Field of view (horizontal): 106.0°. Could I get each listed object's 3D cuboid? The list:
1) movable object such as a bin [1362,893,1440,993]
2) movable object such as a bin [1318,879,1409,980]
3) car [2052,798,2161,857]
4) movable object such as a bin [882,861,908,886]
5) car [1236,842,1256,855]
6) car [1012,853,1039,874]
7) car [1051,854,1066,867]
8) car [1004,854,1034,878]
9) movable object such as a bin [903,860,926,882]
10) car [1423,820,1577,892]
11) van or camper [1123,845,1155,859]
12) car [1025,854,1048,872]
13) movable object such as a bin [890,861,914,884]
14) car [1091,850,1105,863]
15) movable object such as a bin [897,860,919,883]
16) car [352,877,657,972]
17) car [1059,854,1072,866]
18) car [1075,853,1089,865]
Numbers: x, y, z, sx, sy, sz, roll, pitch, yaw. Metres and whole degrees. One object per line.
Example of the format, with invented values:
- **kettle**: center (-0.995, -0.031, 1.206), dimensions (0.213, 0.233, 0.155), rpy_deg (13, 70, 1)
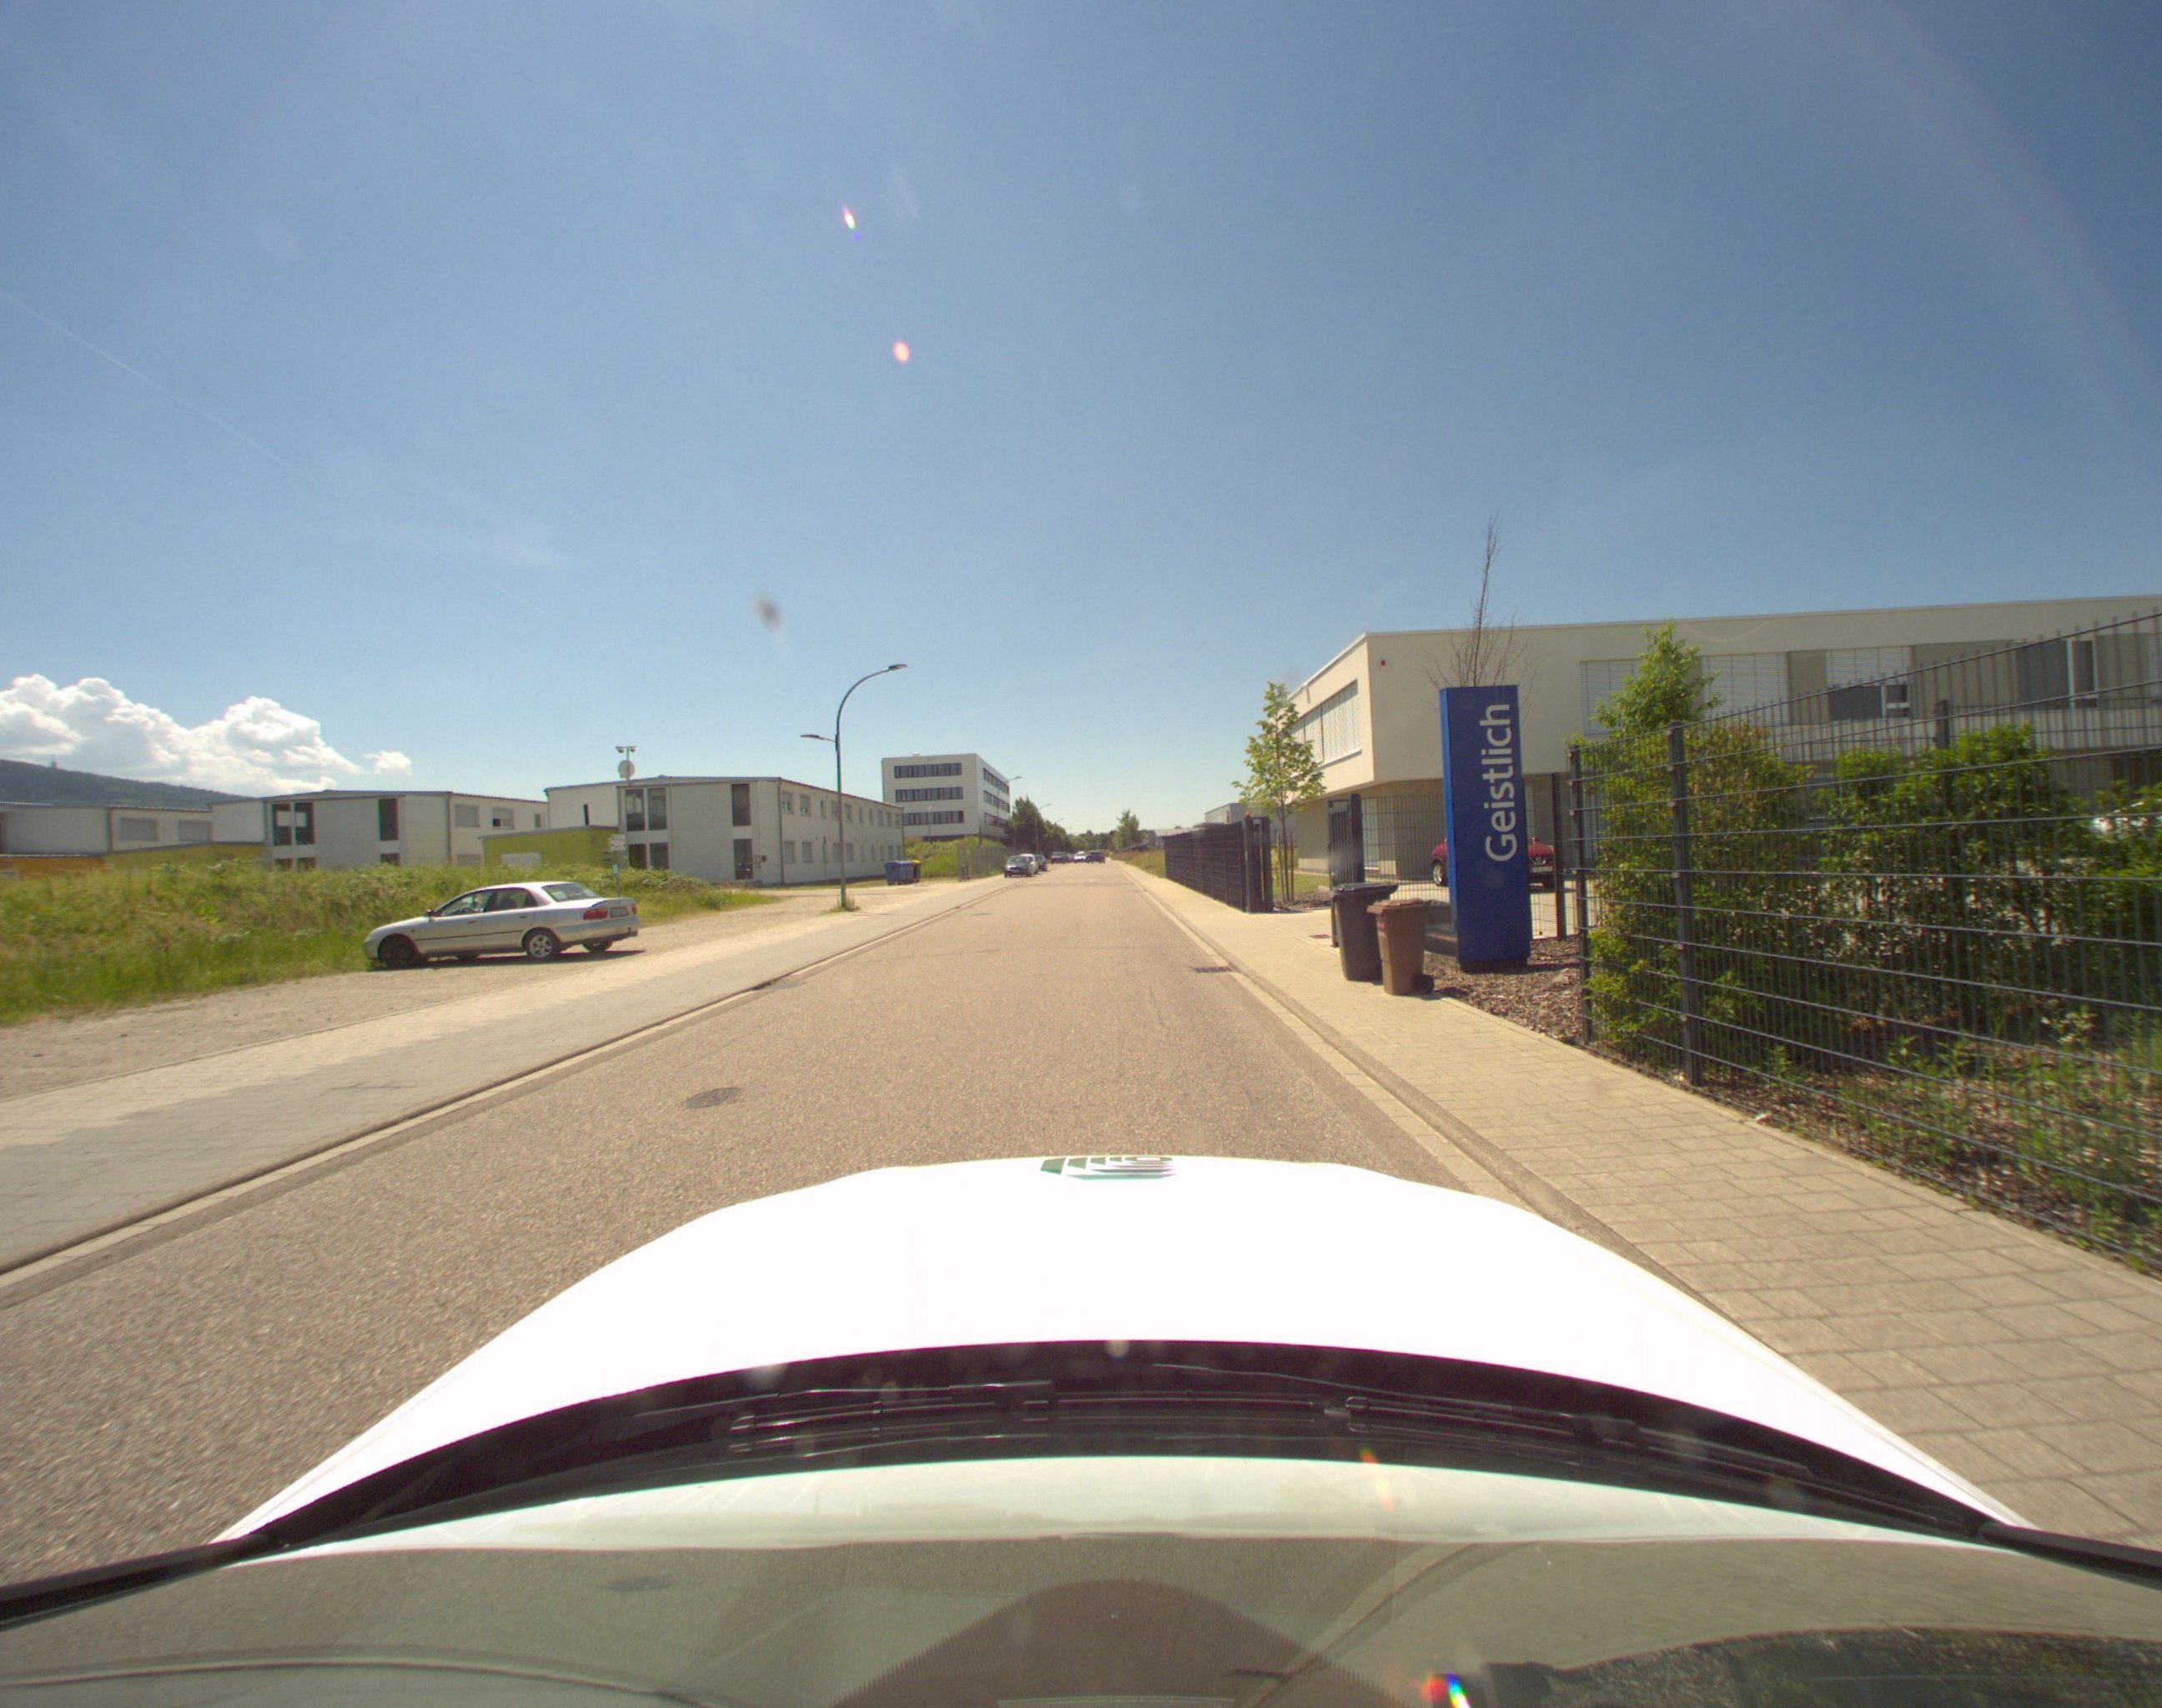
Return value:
- **movable object such as a bin**: center (3.219, 0.879, 8.225), dimensions (0.522, 0.925, 0.555), rpy_deg (-4, -1, 1)
- **movable object such as a bin**: center (3.173, 0.832, 9.207), dimensions (0.745, 1.048, 0.699), rpy_deg (-4, -1, 1)
- **car**: center (27.662, -0.692, 20.534), dimensions (1.664, 1.432, 3.938), rpy_deg (-2, 1, -1)
- **movable object such as a bin**: center (-11.358, 1.172, 49.823), dimensions (1.138, 1.448, 1.435), rpy_deg (-2, -1, 4)
- **car**: center (18.769, -0.593, 92.725), dimensions (1.509, 1.397, 3.540), rpy_deg (-3, -1, 0)
- **car**: center (-4.285, 0.748, 63.514), dimensions (1.668, 1.530, 3.758), rpy_deg (-2, -1, 1)
- **car**: center (-3.077, 0.897, 111.800), dimensions (1.764, 1.588, 4.482), rpy_deg (-2, -1, 1)
- **car**: center (-4.284, 0.813, 56.795), dimensions (1.668, 1.530, 3.910), rpy_deg (-2, -1, 1)
- **movable object such as a bin**: center (-11.078, 1.120, 54.267), dimensions (1.137, 1.405, 1.389), rpy_deg (-2, -1, 3)
- **car**: center (10.376, 0.004, 20.550), dimensions (1.664, 1.557, 4.076), rpy_deg (-2, 1, -2)
- **van or camper**: center (12.999, -0.429, 182.447), dimensions (6.735, 2.585, 2.635), rpy_deg (-3, -1, 0)
- **car**: center (-3.885, 0.814, 72.037), dimensions (1.668, 1.450, 4.069), rpy_deg (-2, -1, 1)
- **movable object such as a bin**: center (-11.275, 1.157, 51.370), dimensions (1.119, 1.448, 1.373), rpy_deg (-2, -1, 4)
- **car**: center (2.198, 0.272, 103.874), dimensions (1.783, 1.623, 3.809), rpy_deg (0, -1, 1)
- **movable object such as a bin**: center (-11.184, 1.139, 52.789), dimensions (1.084, 1.448, 1.389), rpy_deg (-2, -1, 0)
- **car**: center (-10.413, 1.239, 14.939), dimensions (4.230, 1.379, 1.863), rpy_deg (-3, 0, 2)
- **car**: center (-2.391, 0.914, 124.418), dimensions (1.764, 1.623, 4.583), rpy_deg (-2, -1, 1)
- **car**: center (0.171, 0.728, 114.238), dimensions (1.764, 1.588, 4.077), rpy_deg (-2, -1, 1)
